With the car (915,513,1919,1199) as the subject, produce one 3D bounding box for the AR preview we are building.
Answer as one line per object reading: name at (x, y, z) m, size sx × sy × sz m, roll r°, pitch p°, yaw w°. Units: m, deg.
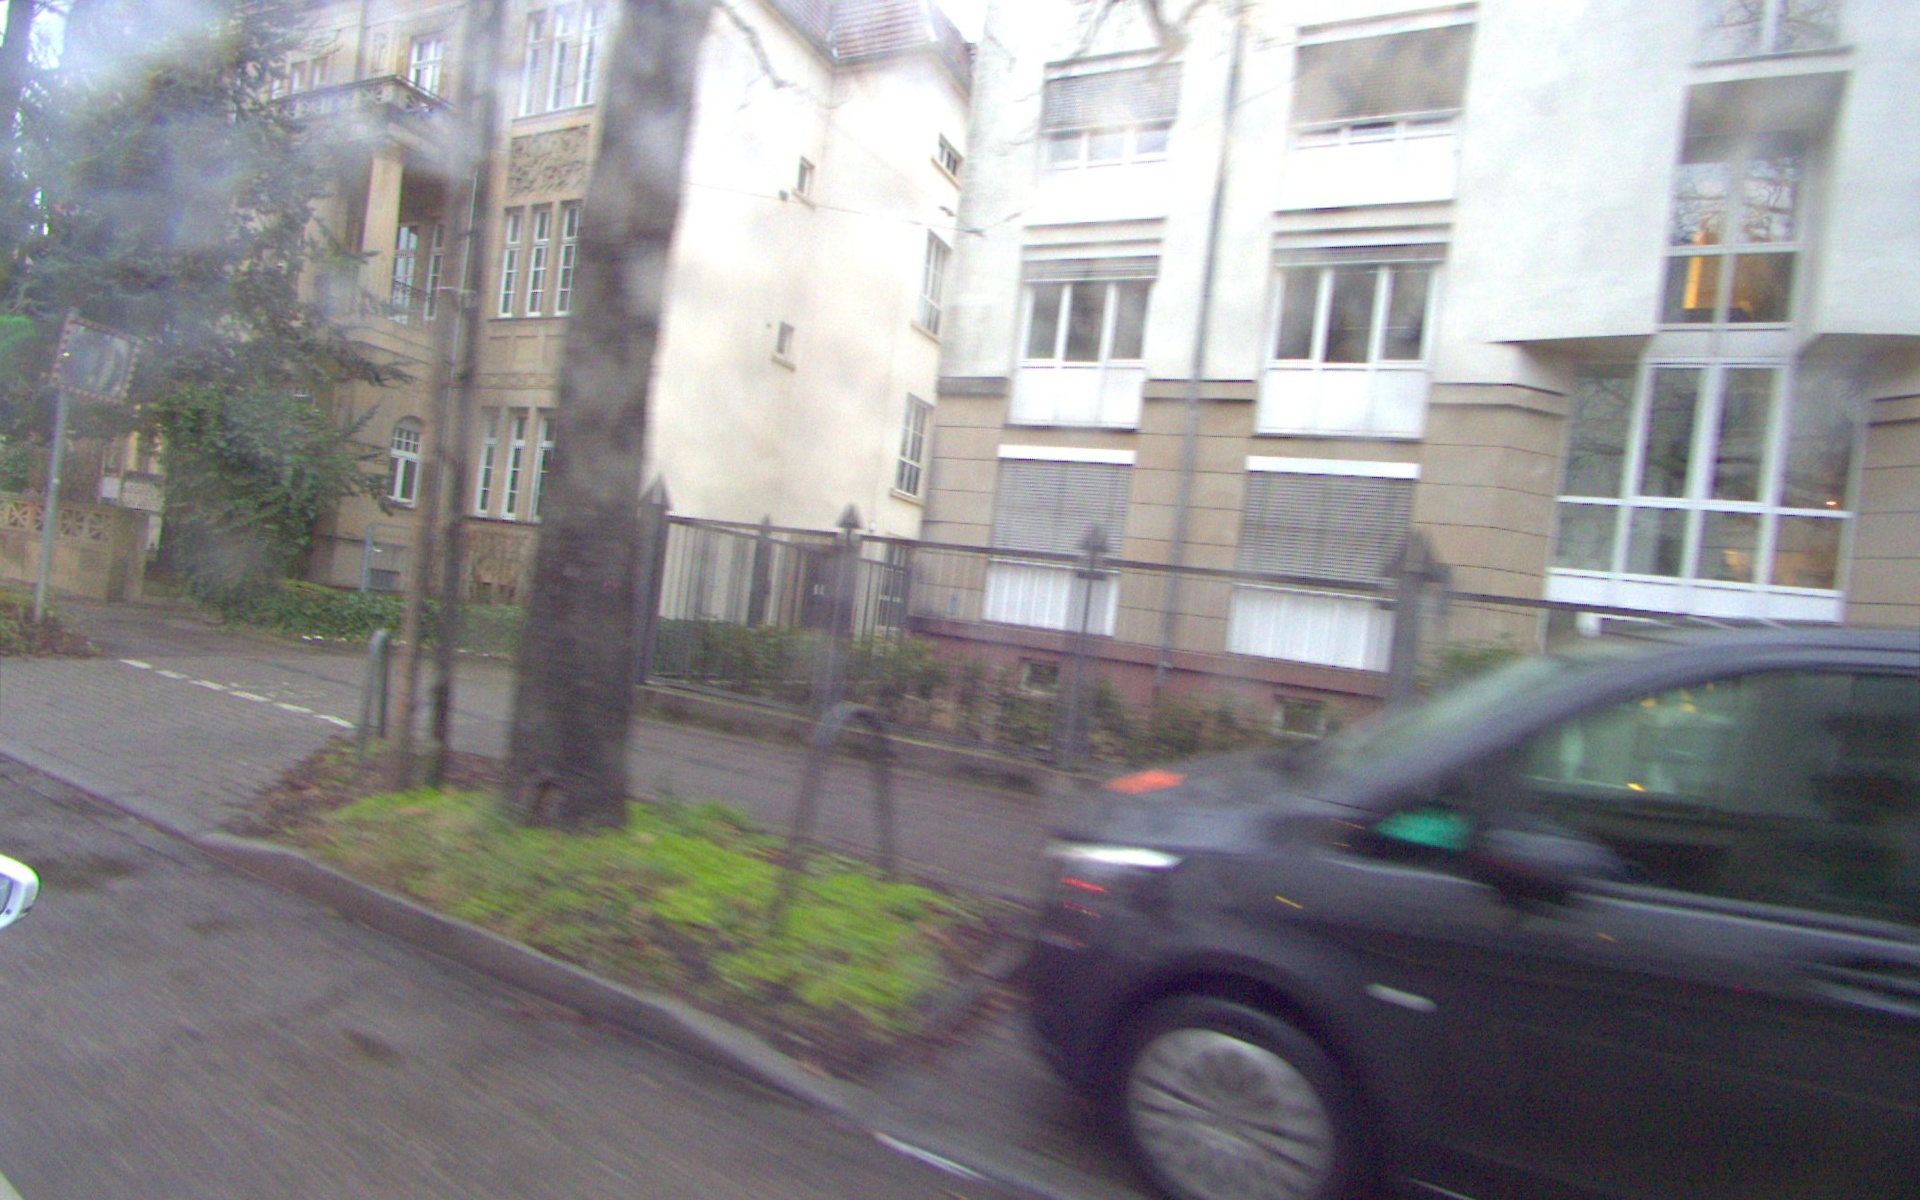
car at (2.576, 1.007, 2.849) m, size 4.876 × 1.899 × 2.035 m, roll 7°, pitch 1°, yaw 27°
